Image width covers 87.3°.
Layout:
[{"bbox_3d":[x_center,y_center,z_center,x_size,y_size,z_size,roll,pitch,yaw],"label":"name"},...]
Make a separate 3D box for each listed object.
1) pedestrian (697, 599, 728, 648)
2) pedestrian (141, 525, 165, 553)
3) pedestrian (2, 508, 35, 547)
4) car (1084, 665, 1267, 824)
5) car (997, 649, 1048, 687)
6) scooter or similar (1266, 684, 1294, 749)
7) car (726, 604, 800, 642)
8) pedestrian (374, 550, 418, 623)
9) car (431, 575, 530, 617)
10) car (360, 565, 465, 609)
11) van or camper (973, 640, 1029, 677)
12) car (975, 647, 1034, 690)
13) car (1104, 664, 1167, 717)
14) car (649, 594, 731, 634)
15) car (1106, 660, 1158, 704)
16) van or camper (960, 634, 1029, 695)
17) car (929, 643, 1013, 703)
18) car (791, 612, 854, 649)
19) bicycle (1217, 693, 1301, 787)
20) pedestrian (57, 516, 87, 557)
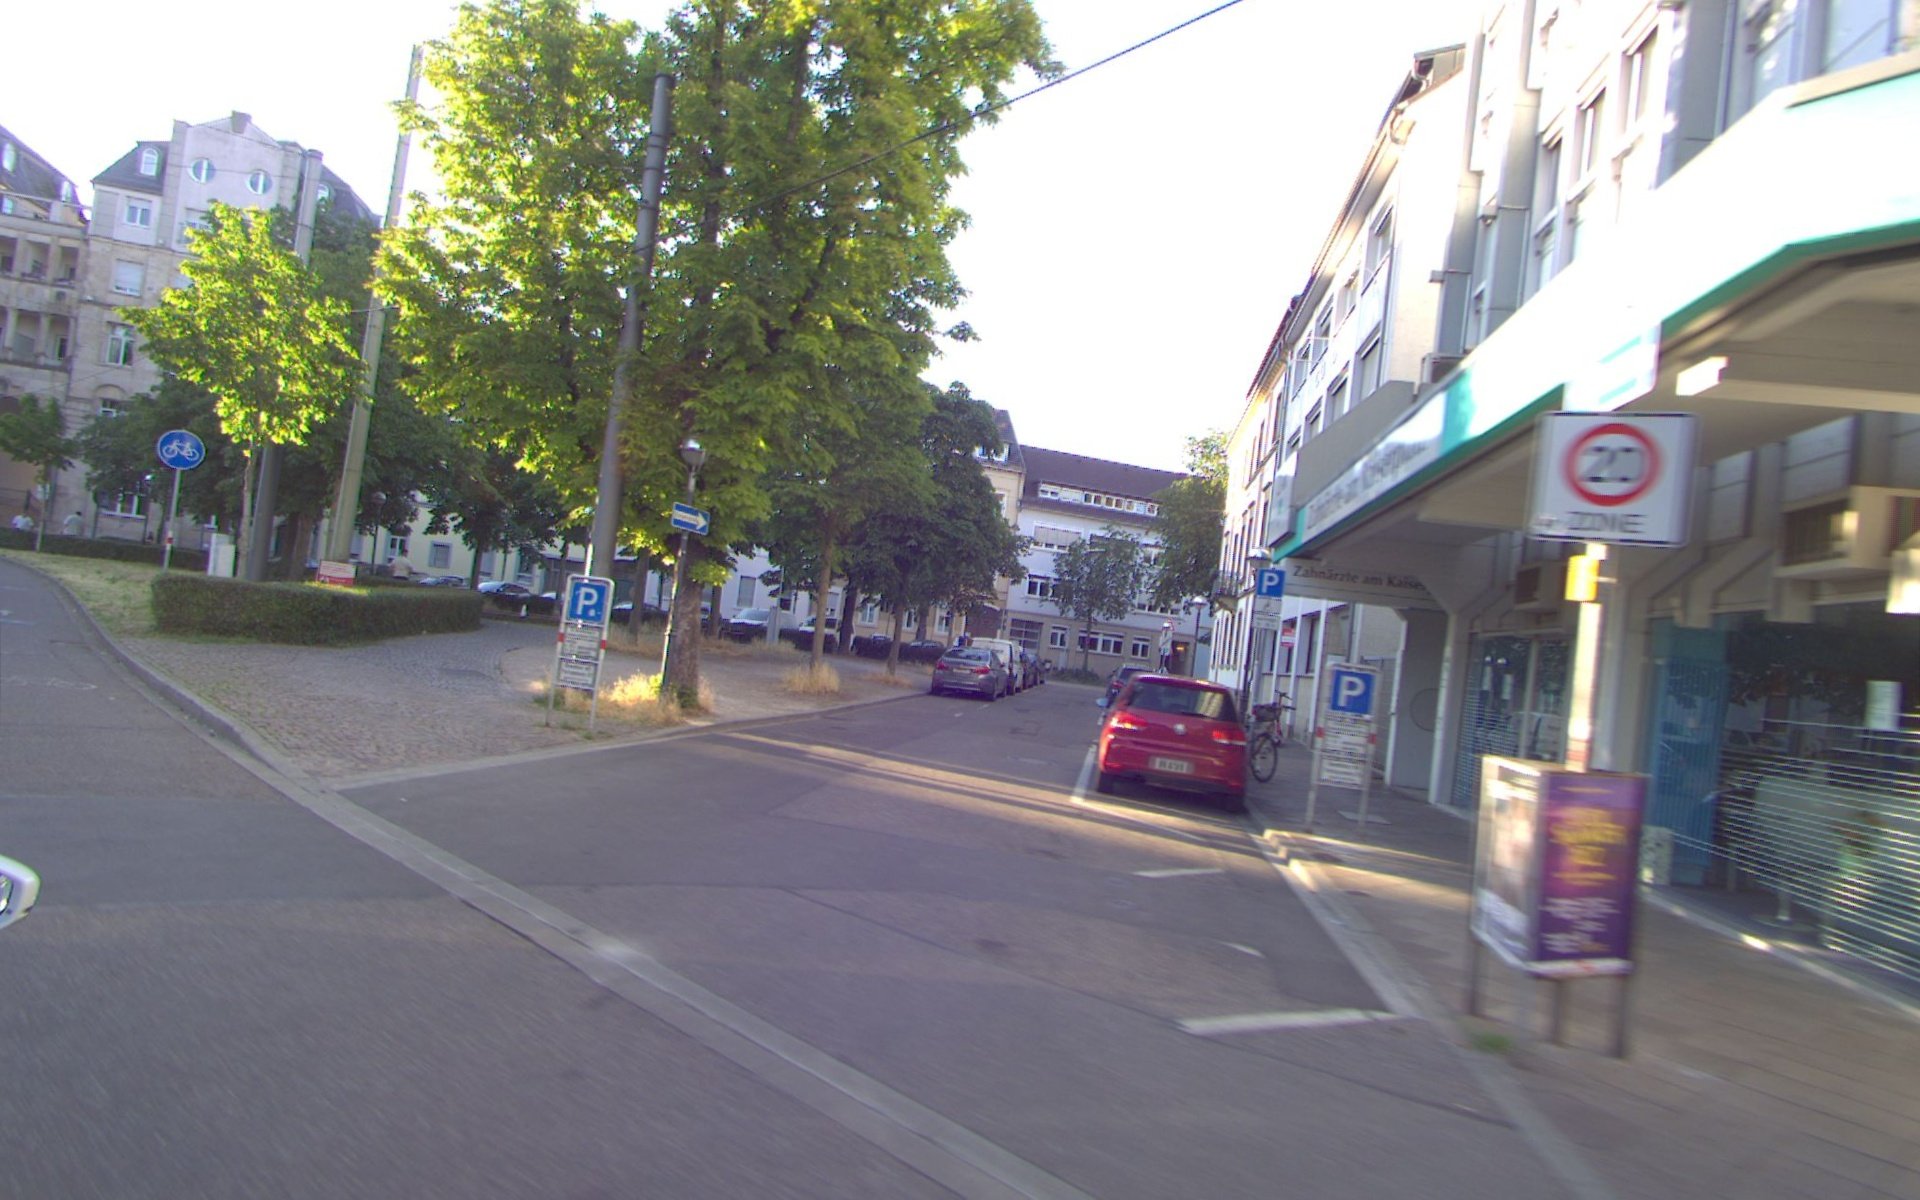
[{"bbox_3d":[-9.511,0.921,38.619,0.756,1.769,1.007,8,-1,-3],"label":"pedestrian"},{"bbox_3d":[-44.425,-3.356,55.405,0.676,1.384,0.634,8,-1,-13],"label":"pedestrian"},{"bbox_3d":[-39.924,-3.056,42.666,0.584,1.528,0.685,8,-1,-15],"label":"pedestrian"},{"bbox_3d":[2.619,1.698,12.945,1.798,1.456,3.874,8,-2,8],"label":"car"},{"bbox_3d":[2.905,3.085,45.852,1.826,1.442,4.336,6,-2,8],"label":"car"},{"bbox_3d":[7.464,2.691,23.468,0.423,1.384,1.691,7,-2,17],"label":"scooter or similar"},{"bbox_3d":[-9.480,1.165,48.819,1.826,1.442,4.475,6,-3,11],"label":"car"},{"bbox_3d":[-16.552,-0.391,29.553,0.640,2.037,0.817,8,-1,-8],"label":"pedestrian"},{"bbox_3d":[-21.612,-0.125,45.578,1.826,1.442,4.336,6,-2,8],"label":"car"},{"bbox_3d":[-24.459,-0.534,45.135,1.826,1.442,4.336,6,-2,8],"label":"car"},{"bbox_3d":[2.556,3.683,64.030,1.808,1.891,4.347,8,-2,-20],"label":"van or camper"},{"bbox_3d":[1.829,2.723,40.243,1.826,1.442,4.336,6,-2,8],"label":"car"},{"bbox_3d":[5.961,3.050,34.503,1.798,1.456,3.874,8,-2,8],"label":"car"},{"bbox_3d":[-12.593,0.686,47.270,1.826,1.442,4.475,6,-3,11],"label":"car"},{"bbox_3d":[6.972,3.314,41.069,1.798,1.456,3.874,8,-2,8],"label":"car"},{"bbox_3d":[1.265,2.251,35.176,1.798,1.788,3.874,8,-2,8],"label":"van or camper"},{"bbox_3d":[0.404,2.139,29.779,1.826,1.442,4.336,6,-2,8],"label":"car"},{"bbox_3d":[-6.648,1.525,49.094,1.826,1.442,4.336,6,-2,8],"label":"car"},{"bbox_3d":[4.558,2.105,15.463,0.515,1.194,1.931,7,-2,-2],"label":"bicycle"},{"bbox_3d":[-35.286,-2.504,39.968,0.629,1.528,0.682,8,-1,-32],"label":"pedestrian"}]
